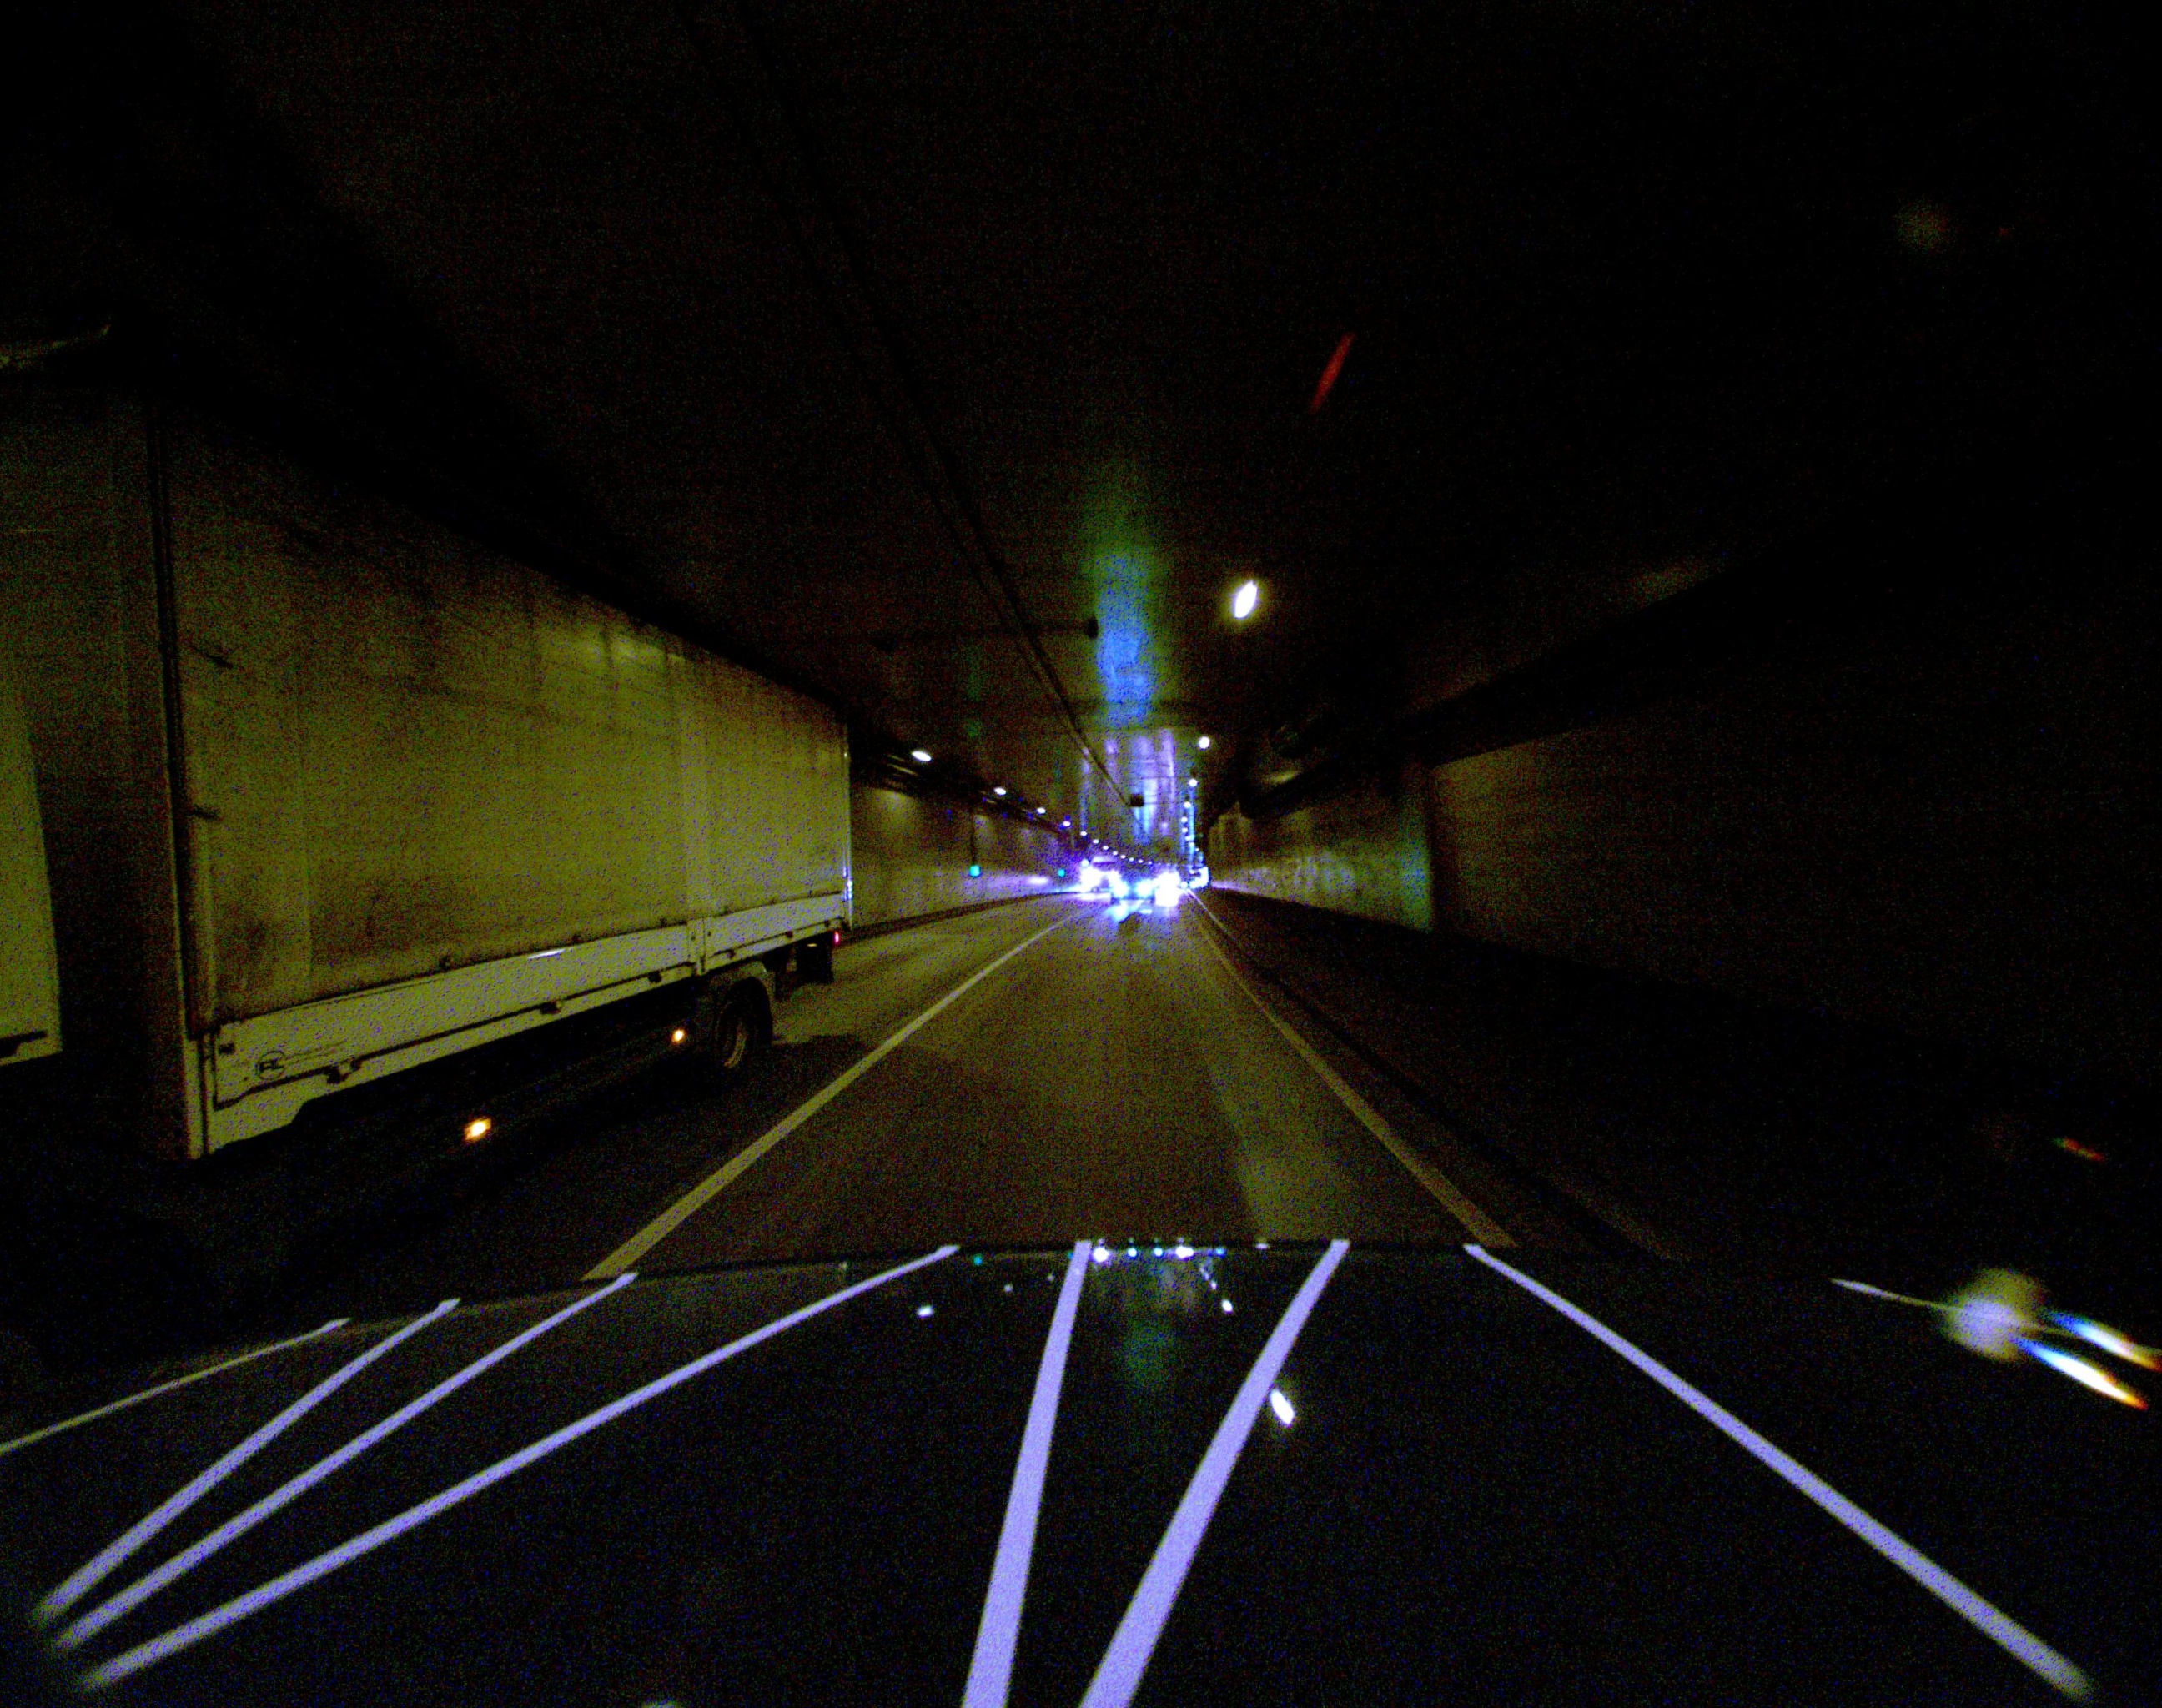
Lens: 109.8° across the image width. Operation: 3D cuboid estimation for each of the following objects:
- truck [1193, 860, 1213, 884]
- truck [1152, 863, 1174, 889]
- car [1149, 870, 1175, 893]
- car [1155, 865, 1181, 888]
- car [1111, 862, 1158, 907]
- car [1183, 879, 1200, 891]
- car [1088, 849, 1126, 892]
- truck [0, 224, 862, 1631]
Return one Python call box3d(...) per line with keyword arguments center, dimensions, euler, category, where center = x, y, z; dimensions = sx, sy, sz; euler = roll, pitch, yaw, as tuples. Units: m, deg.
box3d(center=(25.678, 3.733, 159.283), dimensions=(2.884, 4.446, 10.463), euler=(-5, 0, 14), category="truck")
box3d(center=(9.272, 2.413, 85.352), dimensions=(2.073, 2.524, 6.027), euler=(-5, 0, 9), category="truck")
box3d(center=(6.315, 2.109, 59.507), dimensions=(1.764, 1.551, 3.820), euler=(-4, -1, 4), category="car")
box3d(center=(8.122, 2.130, 71.354), dimensions=(1.935, 1.917, 4.199), euler=(-4, -3, 1), category="car")
box3d(center=(2.139, 1.129, 29.393), dimensions=(1.638, 1.551, 3.718), euler=(-2, -1, 6), category="car")
box3d(center=(17.796, 4.949, 122.044), dimensions=(1.948, 1.525, 4.004), euler=(-5, 1, 17), category="car")
box3d(center=(1.967, 1.278, 55.240), dimensions=(2.106, 2.829, 6.868), euler=(-2, -3, 6), category="car")
box3d(center=(-3.615, 0.210, 3.817), dimensions=(2.559, 3.162, 7.248), euler=(-2, -1, 3), category="truck")
